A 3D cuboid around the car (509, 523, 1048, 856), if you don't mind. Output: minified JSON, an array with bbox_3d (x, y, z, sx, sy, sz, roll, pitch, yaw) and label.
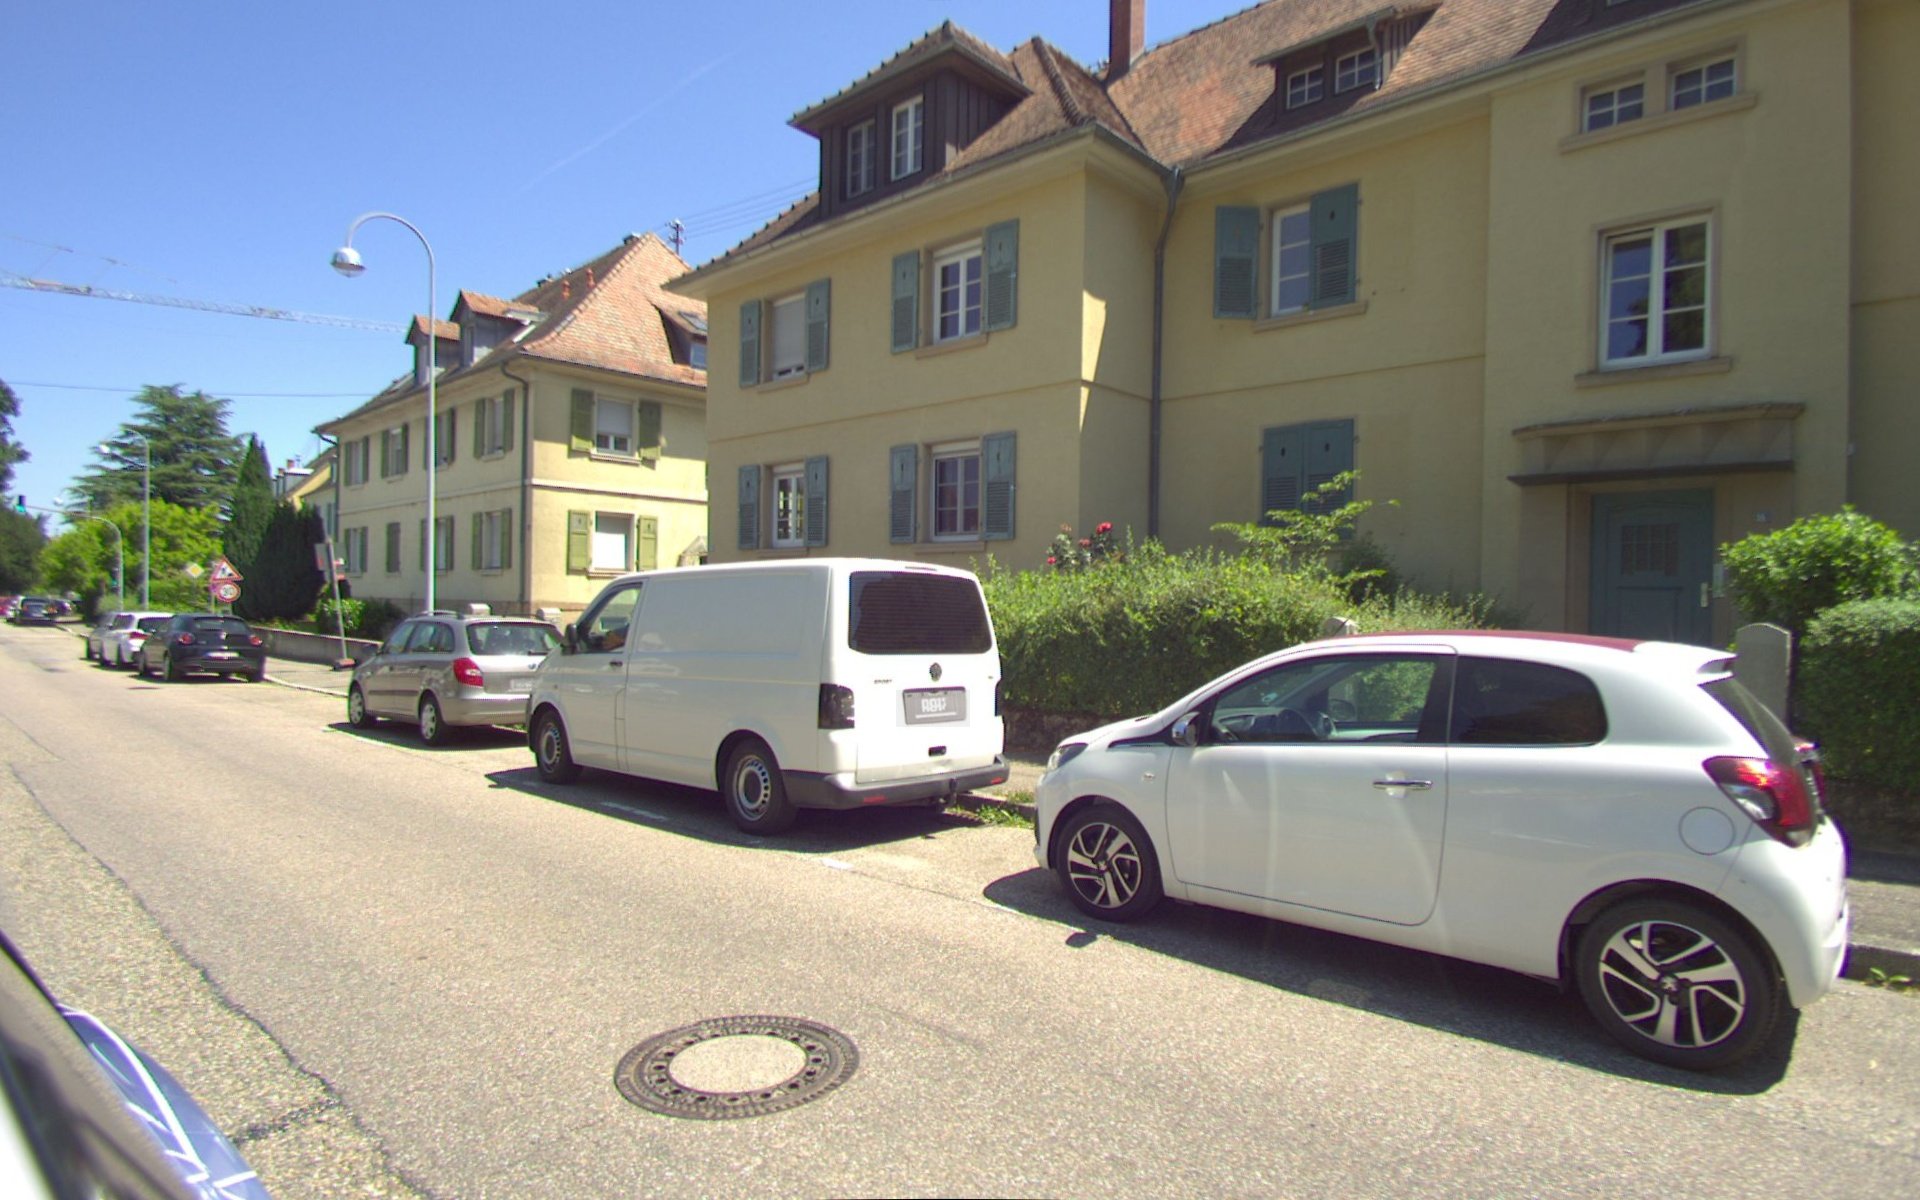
[{"bbox_3d":[-1.705,0.588,8.282,4.624,1.978,1.858,-1,-3,42],"label":"car"}]

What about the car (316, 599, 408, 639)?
[{"bbox_3d":[-26.207,0.787,44.374,3.163,1.467,1.738,-5,4,-40],"label":"car"}]

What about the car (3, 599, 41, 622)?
[{"bbox_3d":[-62.571,0.684,67.534,1.660,1.452,4.253,3,-2,-41],"label":"car"}]

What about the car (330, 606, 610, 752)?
[{"bbox_3d":[-6.217,0.886,12.641,4.061,1.537,1.669,0,-3,42],"label":"car"}]

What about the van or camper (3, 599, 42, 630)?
[{"bbox_3d":[-58.536,0.877,63.217,1.661,1.818,3.990,3,-2,-43],"label":"van or camper"}]

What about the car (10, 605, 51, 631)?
[{"bbox_3d":[-55.095,1.070,59.969,1.661,1.423,3.929,3,-2,-44],"label":"car"}]

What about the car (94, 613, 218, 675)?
[{"bbox_3d":[-20.547,1.078,25.802,4.218,1.413,1.775,0,-2,42],"label":"car"}]

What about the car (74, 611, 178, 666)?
[{"bbox_3d":[-24.327,1.081,29.484,3.923,1.458,1.740,0,-2,42],"label":"car"}]

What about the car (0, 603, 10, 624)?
[{"bbox_3d":[-74.741,1.005,78.161,3.697,1.578,1.794,0,-2,43],"label":"car"}]

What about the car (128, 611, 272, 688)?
[{"bbox_3d":[-16.761,1.037,22.260,4.075,1.496,1.697,0,-2,42],"label":"car"}]

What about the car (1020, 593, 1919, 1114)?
[{"bbox_3d":[2.143,0.767,4.660,3.478,1.504,1.648,-1,-2,43],"label":"car"}]
